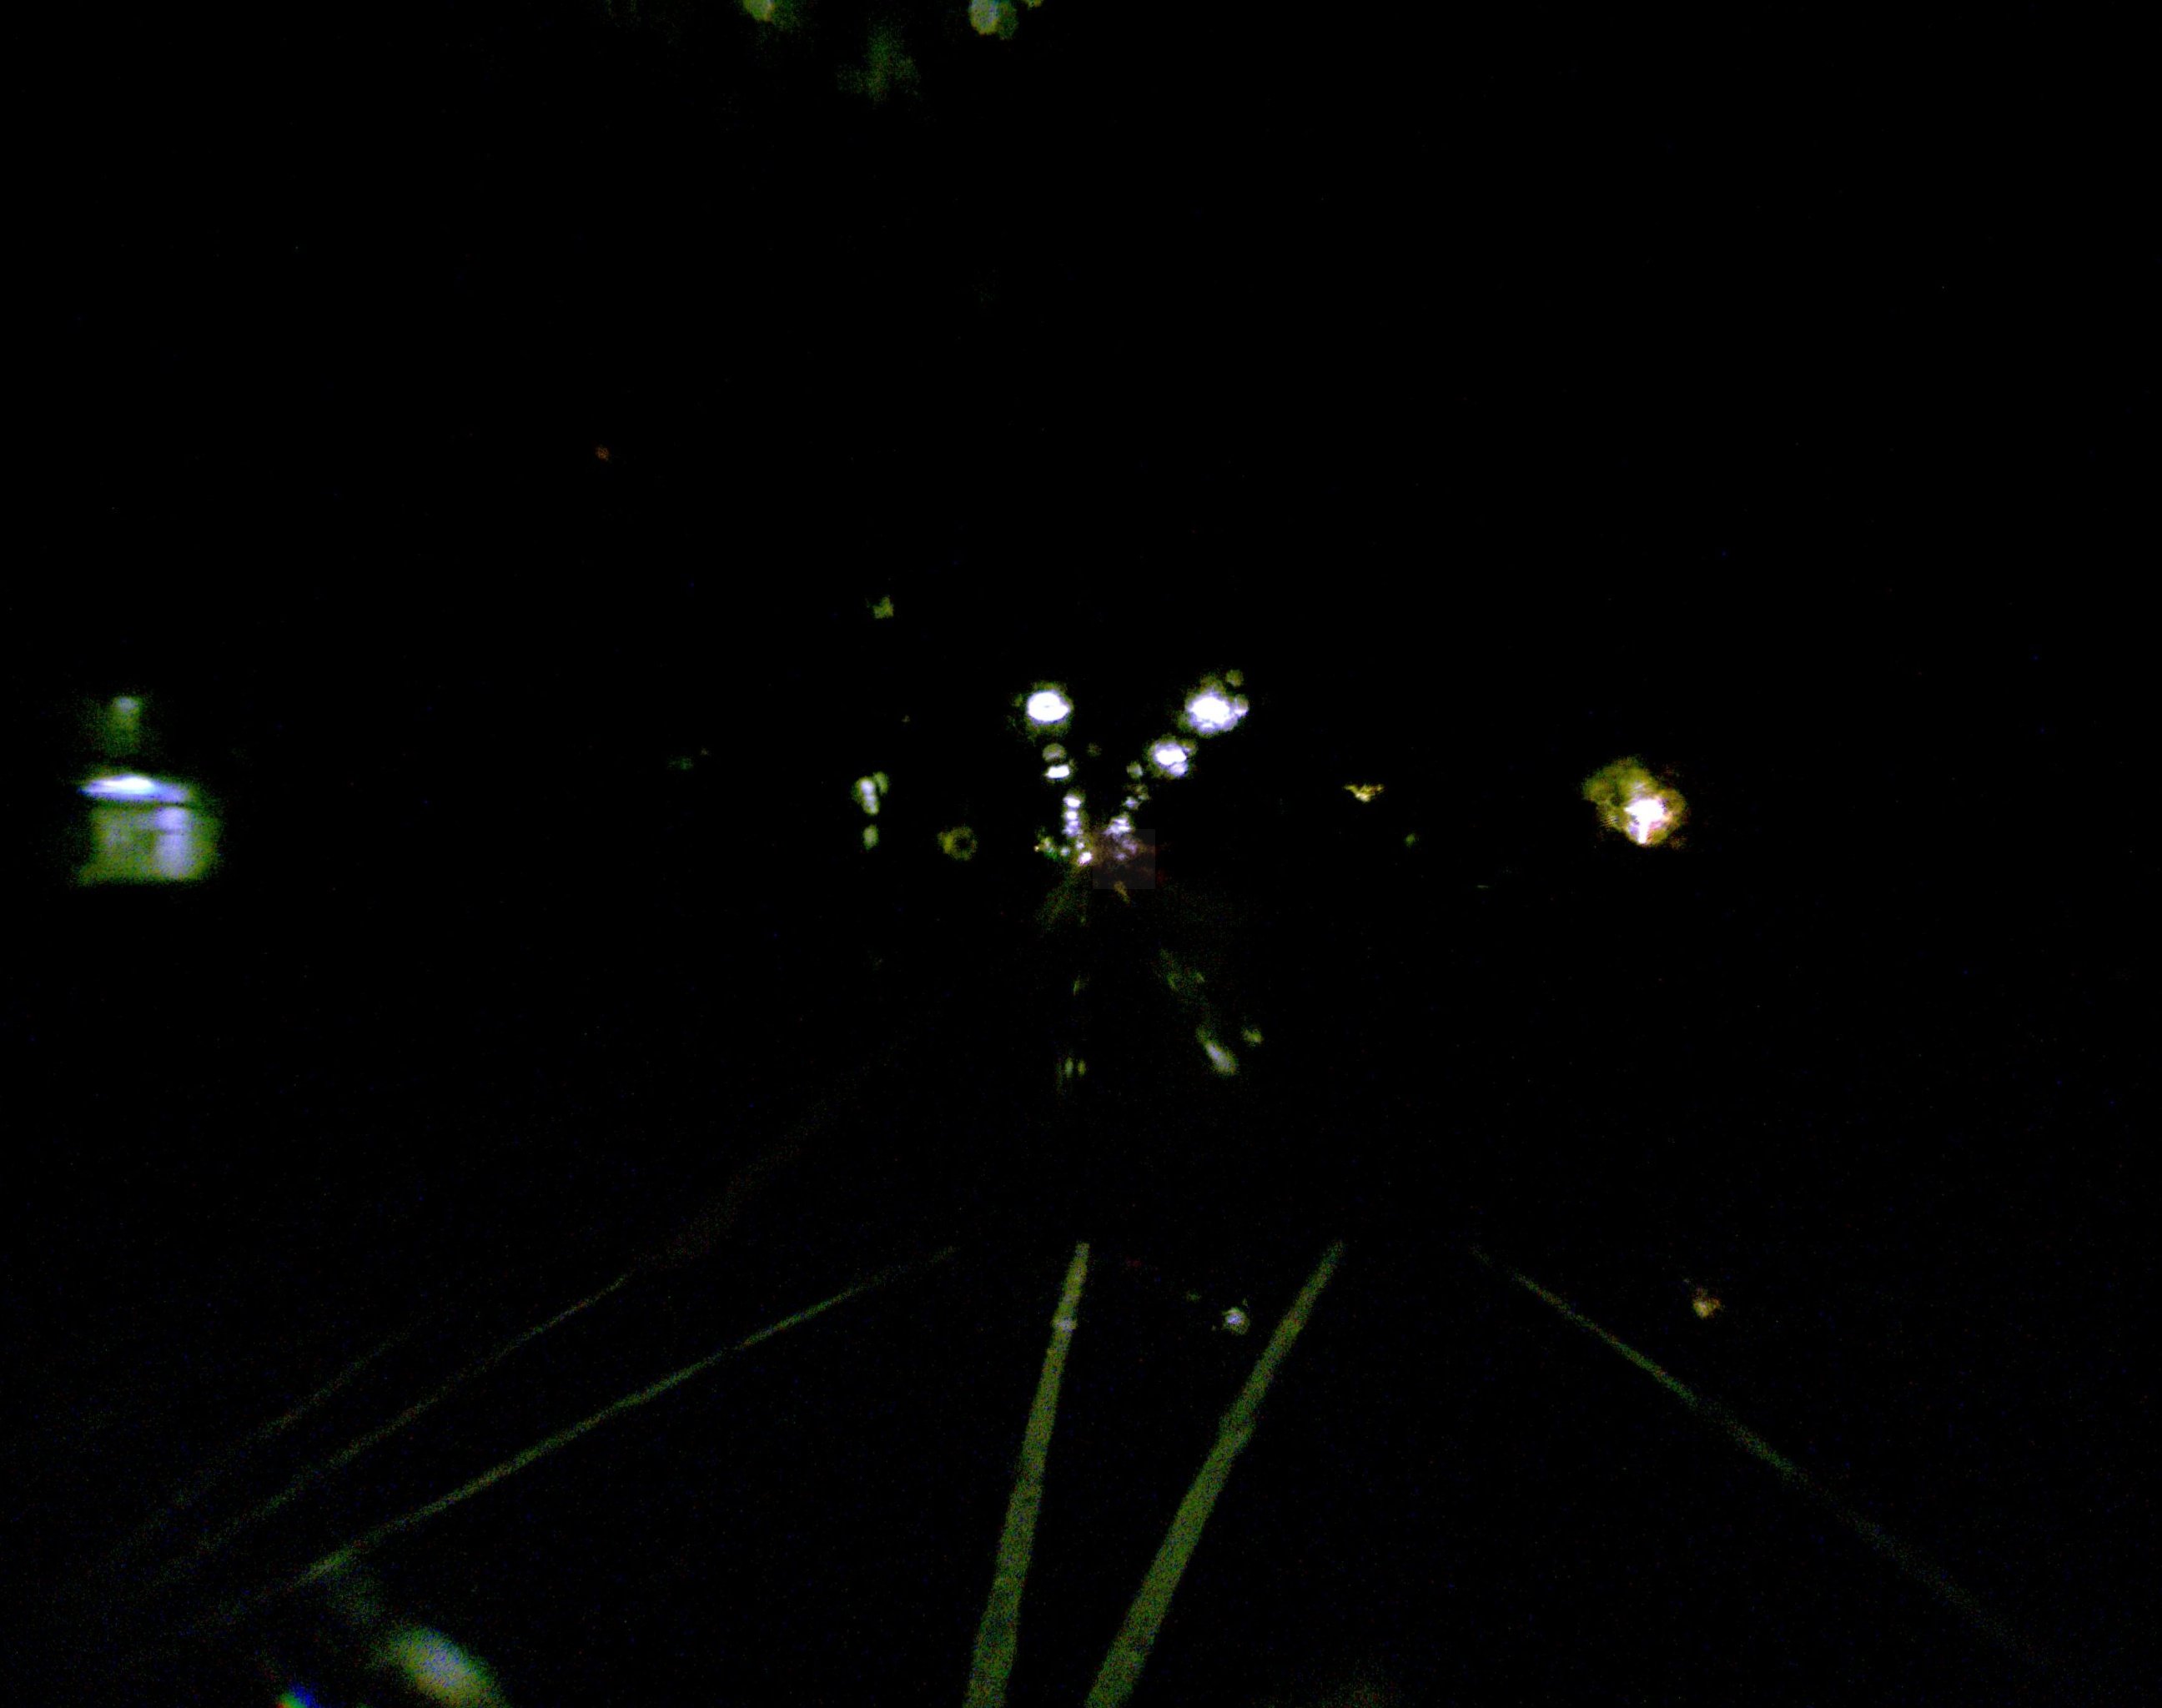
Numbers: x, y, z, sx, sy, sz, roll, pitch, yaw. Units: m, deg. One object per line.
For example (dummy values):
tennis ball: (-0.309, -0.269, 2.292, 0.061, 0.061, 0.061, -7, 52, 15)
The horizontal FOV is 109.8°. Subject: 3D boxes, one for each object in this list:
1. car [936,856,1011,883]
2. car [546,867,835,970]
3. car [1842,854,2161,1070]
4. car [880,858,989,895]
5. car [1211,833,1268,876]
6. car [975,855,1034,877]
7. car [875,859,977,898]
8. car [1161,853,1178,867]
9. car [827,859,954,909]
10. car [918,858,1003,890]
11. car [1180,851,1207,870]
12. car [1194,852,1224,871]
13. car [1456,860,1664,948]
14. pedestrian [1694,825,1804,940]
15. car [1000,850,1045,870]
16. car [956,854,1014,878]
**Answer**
car: (-6.405, 0.924, 45.381, 4.170, 1.436, 1.651, -2, 0, -42)
car: (-6.864, 1.022, 13.593, 4.350, 1.459, 1.677, -1, 0, -38)
car: (9.292, 0.845, 6.183, 1.814, 1.569, 4.353, -4, 0, 1)
car: (-6.250, 0.922, 32.776, 4.264, 1.409, 1.780, -2, 1, -40)
car: (10.063, -0.003, 48.656, 2.248, 2.494, 5.259, -3, 1, -2)
car: (-5.662, 0.859, 56.338, 4.021, 1.519, 1.796, -2, 1, -41)
car: (-6.066, 0.926, 29.947, 3.580, 1.463, 1.649, 0, 0, -37)
car: (10.542, 0.660, 90.742, 1.693, 1.565, 3.918, -1, 0, 1)
car: (-6.517, 0.977, 26.257, 1.707, 1.503, 3.915, -1, 1, 44)
car: (-6.195, 1.013, 39.419, 1.658, 1.473, 4.194, -3, -1, 42)
car: (10.242, 0.598, 69.544, 1.846, 1.572, 3.663, -3, 1, 0)
car: (10.218, 0.567, 60.934, 1.720, 1.399, 3.390, -3, 1, 0)
car: (9.410, 0.900, 15.352, 1.723, 1.447, 3.950, -1, 0, 0)
pedestrian: (11.627, 0.474, 13.272, 0.794, 1.890, 1.291, -1, 1, 1)
car: (-5.561, 0.534, 72.122, 3.965, 1.760, 1.666, -2, 1, -36)
car: (-6.569, 0.827, 52.241, 1.711, 1.519, 3.675, 0, 1, 45)
